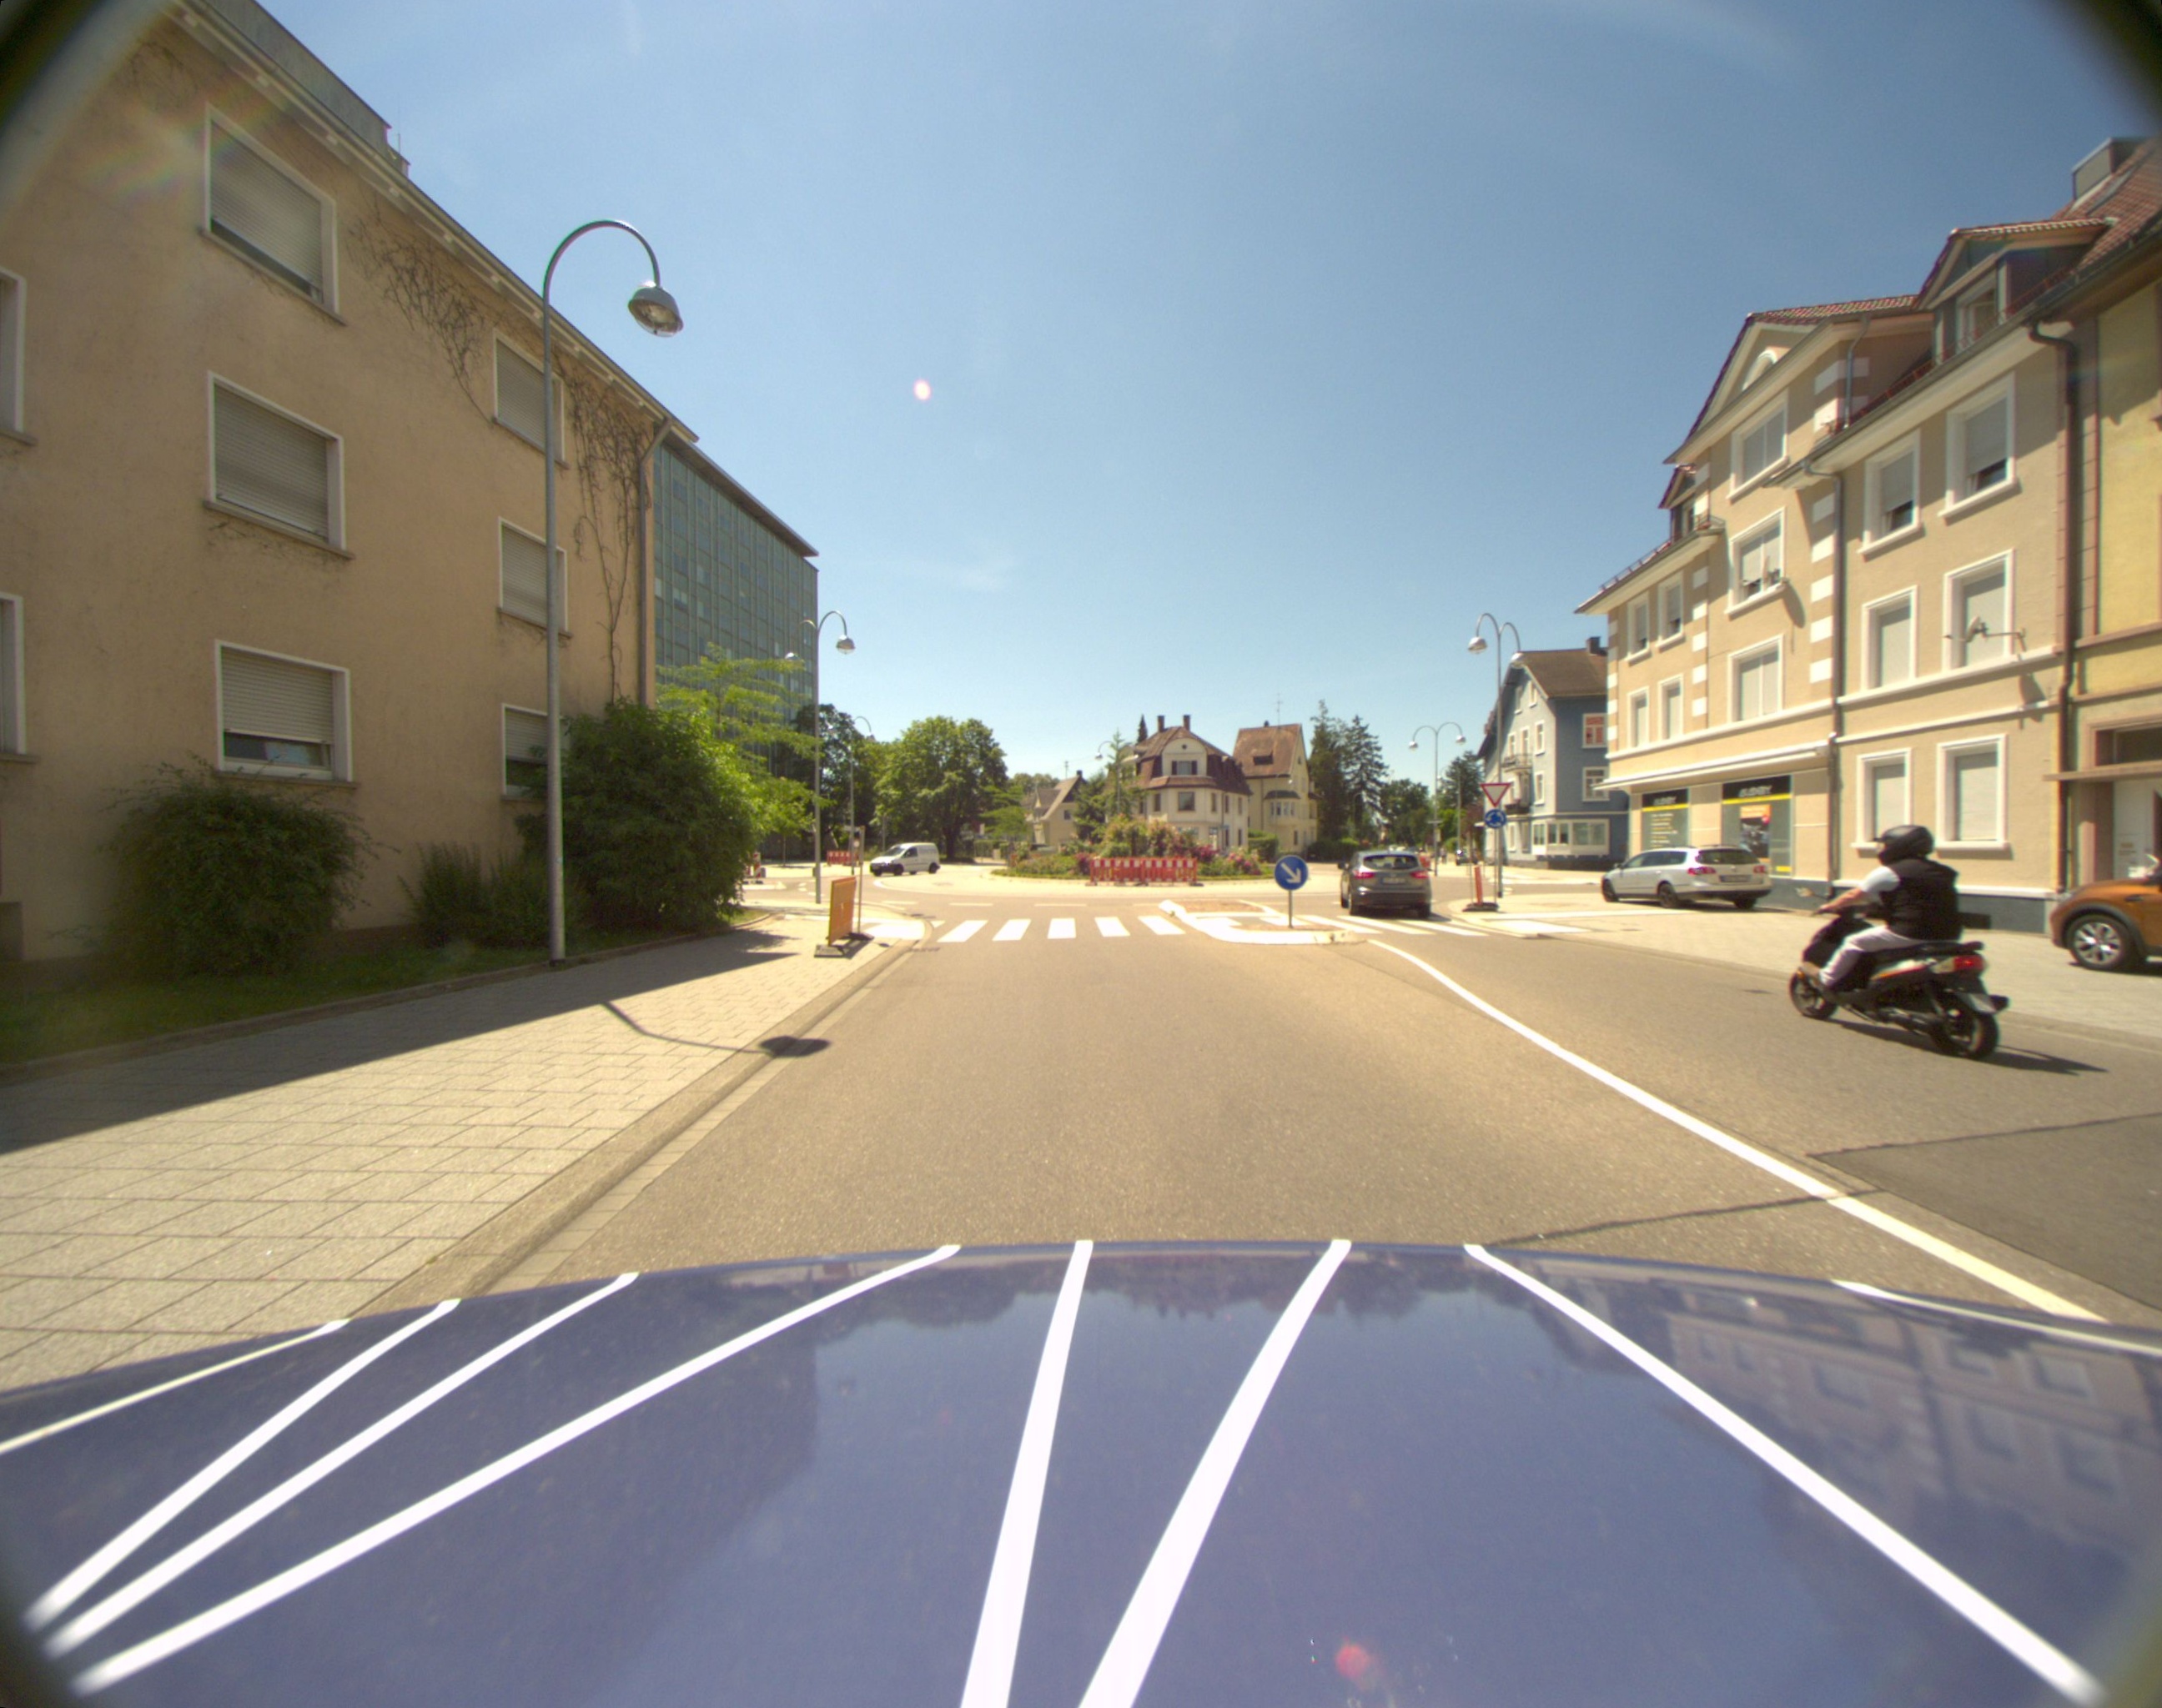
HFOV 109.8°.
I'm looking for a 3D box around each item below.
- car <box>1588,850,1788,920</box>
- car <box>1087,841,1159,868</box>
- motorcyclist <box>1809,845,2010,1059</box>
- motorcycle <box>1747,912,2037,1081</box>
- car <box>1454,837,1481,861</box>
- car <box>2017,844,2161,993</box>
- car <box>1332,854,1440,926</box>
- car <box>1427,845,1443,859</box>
[{"bbox_3d":[14.978,0.675,19.168,1.797,1.494,4.950,-2,0,11],"label":"car"},{"bbox_3d":[2.770,-0.005,50.897,4.565,1.727,1.999,0,1,-4],"label":"car"},{"bbox_3d":[6.317,0.692,5.855,0.602,1.516,0.896,0,1,8],"label":"motorcyclist"},{"bbox_3d":[6.345,1.046,6.114,0.607,0.994,1.800,0,1,8],"label":"motorcycle"},{"bbox_3d":[33.331,-0.423,65.613,1.995,1.838,4.005,0,4,27],"label":"car"},{"bbox_3d":[12.192,0.677,7.280,1.797,1.532,4.118,-2,0,10],"label":"car"},{"bbox_3d":[7.554,0.791,19.231,1.798,1.481,4.394,1,1,13],"label":"car"},{"bbox_3d":[54.024,-0.271,115.936,1.995,1.838,4.005,1,4,27],"label":"car"}]
